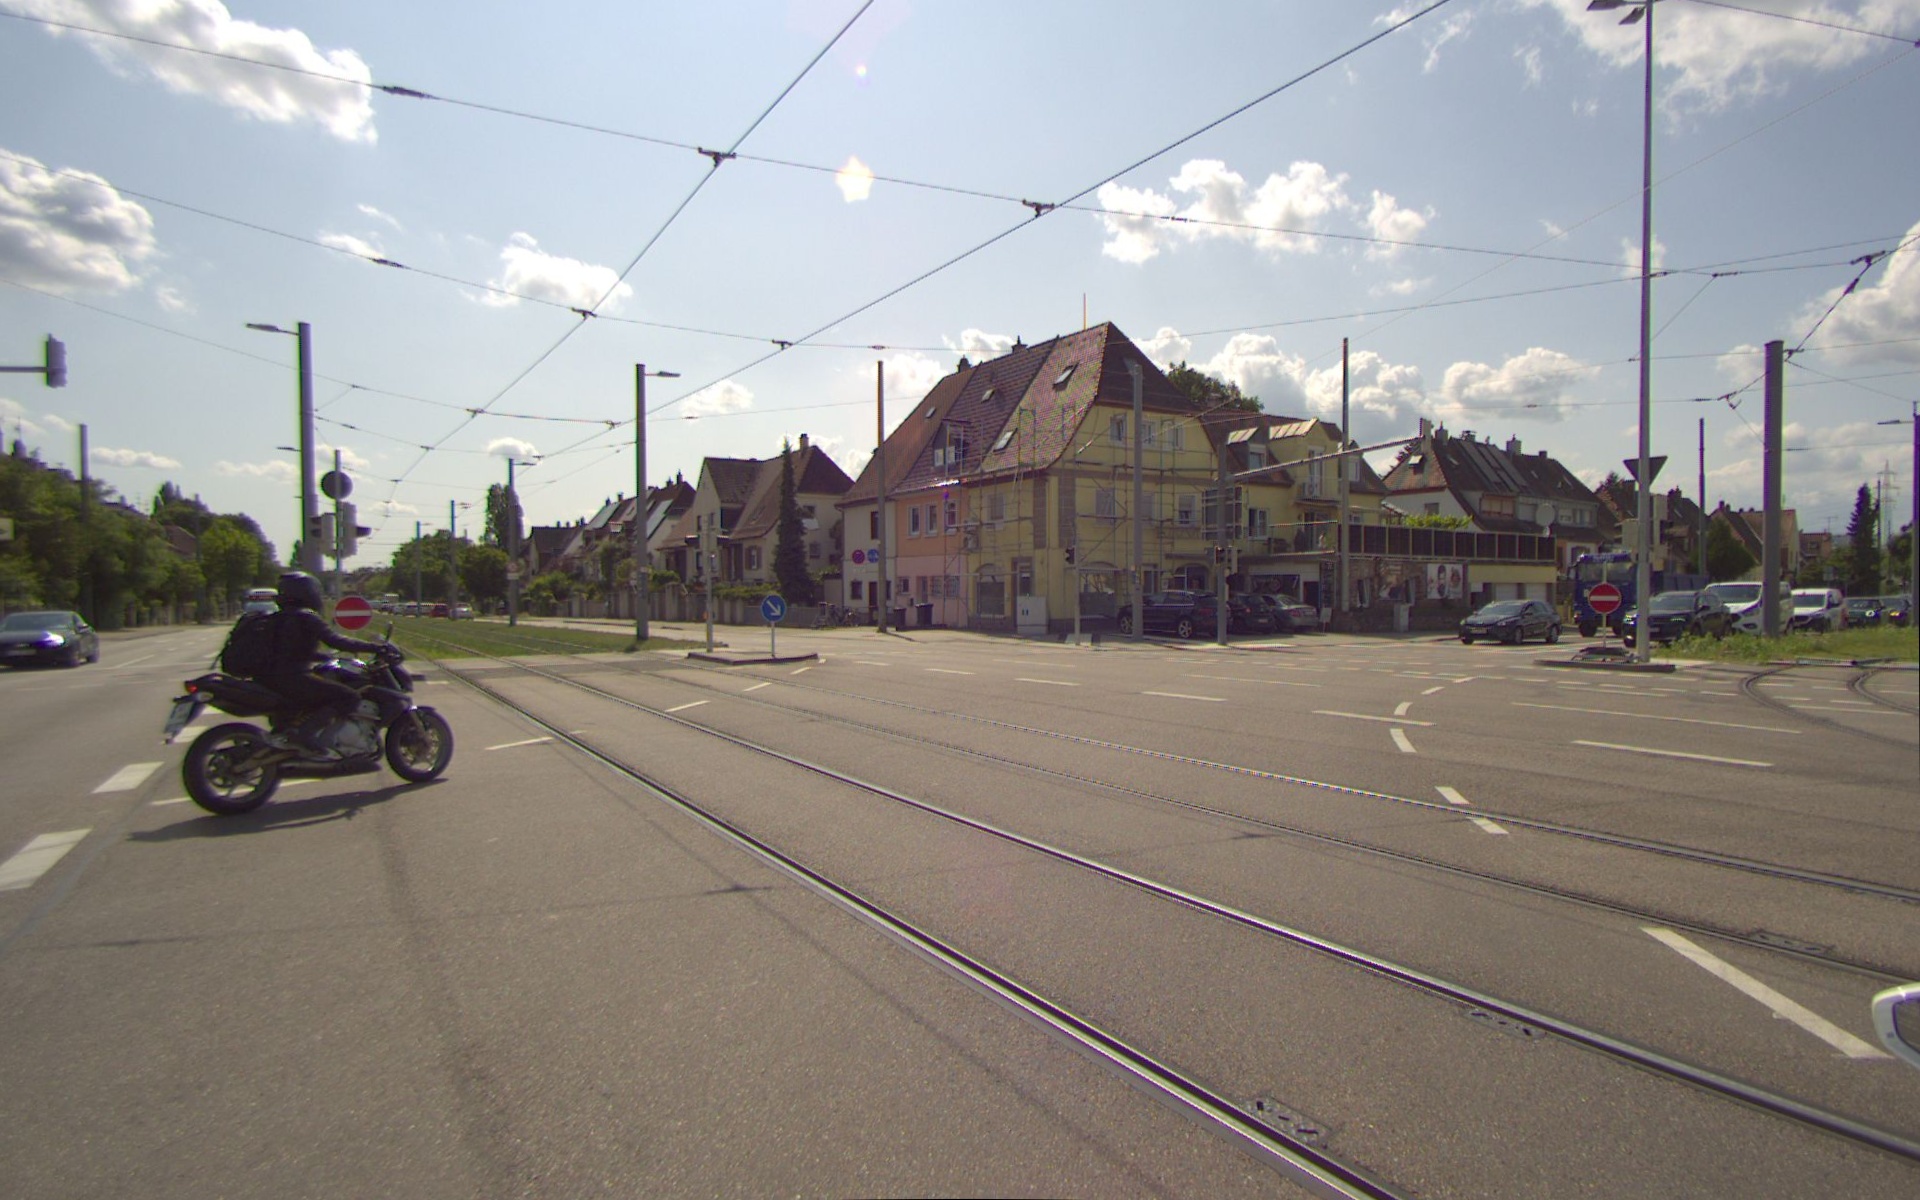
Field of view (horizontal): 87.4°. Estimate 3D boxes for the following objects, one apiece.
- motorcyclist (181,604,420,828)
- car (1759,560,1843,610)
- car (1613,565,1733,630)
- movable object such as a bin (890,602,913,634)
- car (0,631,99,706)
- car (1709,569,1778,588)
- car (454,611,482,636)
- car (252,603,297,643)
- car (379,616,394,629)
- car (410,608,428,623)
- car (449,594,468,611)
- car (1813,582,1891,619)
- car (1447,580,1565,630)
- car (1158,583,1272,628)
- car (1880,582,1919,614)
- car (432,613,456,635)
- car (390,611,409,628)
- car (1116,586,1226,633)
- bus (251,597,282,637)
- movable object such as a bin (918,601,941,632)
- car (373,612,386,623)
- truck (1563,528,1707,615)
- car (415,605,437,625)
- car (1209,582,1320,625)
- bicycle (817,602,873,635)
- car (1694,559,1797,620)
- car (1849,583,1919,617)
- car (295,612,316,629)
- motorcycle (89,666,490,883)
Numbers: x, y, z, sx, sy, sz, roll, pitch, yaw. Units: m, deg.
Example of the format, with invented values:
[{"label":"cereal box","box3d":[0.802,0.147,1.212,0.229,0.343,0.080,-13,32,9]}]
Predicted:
[{"label":"motorcyclist","box3d":[-4.819,0.793,7.403,0.810,1.417,1.098,-1,4,26]},{"label":"car","box3d":[33.019,-0.606,39.411,4.366,1.806,1.719,-2,1,-39]},{"label":"car","box3d":[21.780,-0.104,30.633,4.399,1.744,1.773,-3,2,-37]},{"label":"movable object such as a bin","box3d":[-2.419,0.743,41.756,0.675,1.277,0.677,-3,3,-34]},{"label":"car","box3d":[-23.218,1.683,25.371,1.729,1.605,3.887,-3,1,-34]},{"label":"car","box3d":[63.399,-1.731,81.311,1.972,1.486,4.077,-2,1,-37]},{"label":"car","box3d":[-43.285,2.016,88.354,1.975,2.041,3.971,-3,1,-28]},{"label":"car","box3d":[-37.283,1.225,54.675,1.885,2.041,3.680,-2,1,-33]},{"label":"car","box3d":[-88.316,3.465,154.674,1.779,1.740,3.971,-3,1,-28]},{"label":"car","box3d":[-65.116,1.846,120.935,1.779,1.740,3.971,-3,1,-28]},{"label":"car","box3d":[-65.458,0.305,131.014,1.975,2.040,3.971,-3,0,-28]},{"label":"car","box3d":[38.479,-0.007,43.298,3.965,1.438,1.900,-2,1,-39]},{"label":"car","box3d":[18.361,0.146,33.718,4.291,1.507,1.815,-2,1,-36]},{"label":"car","box3d":[9.520,0.168,37.721,1.493,1.514,4.102,-3,3,-38]},{"label":"car","box3d":[49.152,-0.148,51.737,4.811,1.514,1.830,-2,1,-38]},{"label":"car","box3d":[-51.699,2.337,100.572,1.975,2.041,3.971,-3,1,-28]},{"label":"car","box3d":[-72.784,2.535,130.456,1.975,2.041,3.971,-3,1,-28]},{"label":"car","box3d":[7.483,0.288,35.959,1.168,1.514,4.102,-3,3,-38]},{"label":"bus","box3d":[-71.619,1.696,103.702,2.377,3.827,11.904,-3,1,-35]},{"label":"movable object such as a bin","box3d":[-1.301,0.689,42.457,0.675,1.277,0.677,-3,3,-34]},{"label":"car","box3d":[-104.775,3.144,181.307,1.779,1.740,3.971,-3,1,-28]},{"label":"truck","box3d":[27.491,-1.152,40.762,7.516,3.231,2.746,-2,1,-39]},{"label":"car","box3d":[-57.966,1.562,109.026,1.975,2.041,3.971,-3,1,-28]},{"label":"car","box3d":[11.793,0.093,39.142,1.422,1.514,4.102,-3,3,-38]},{"label":"bicycle","box3d":[-5.310,0.841,46.341,2.428,1.374,0.770,-3,3,-30]},{"label":"car","box3d":[26.931,-0.392,34.388,4.707,1.947,1.800,-2,1,-39]},{"label":"car","box3d":[43.834,-0.021,47.569,4.873,1.432,1.829,-2,1,-39]},{"label":"car","box3d":[-79.972,2.487,122.751,1.980,2.041,3.961,-3,1,-35]},{"label":"motorcycle","box3d":[-4.789,1.158,7.445,0.828,1.143,2.356,-1,1,25]}]
